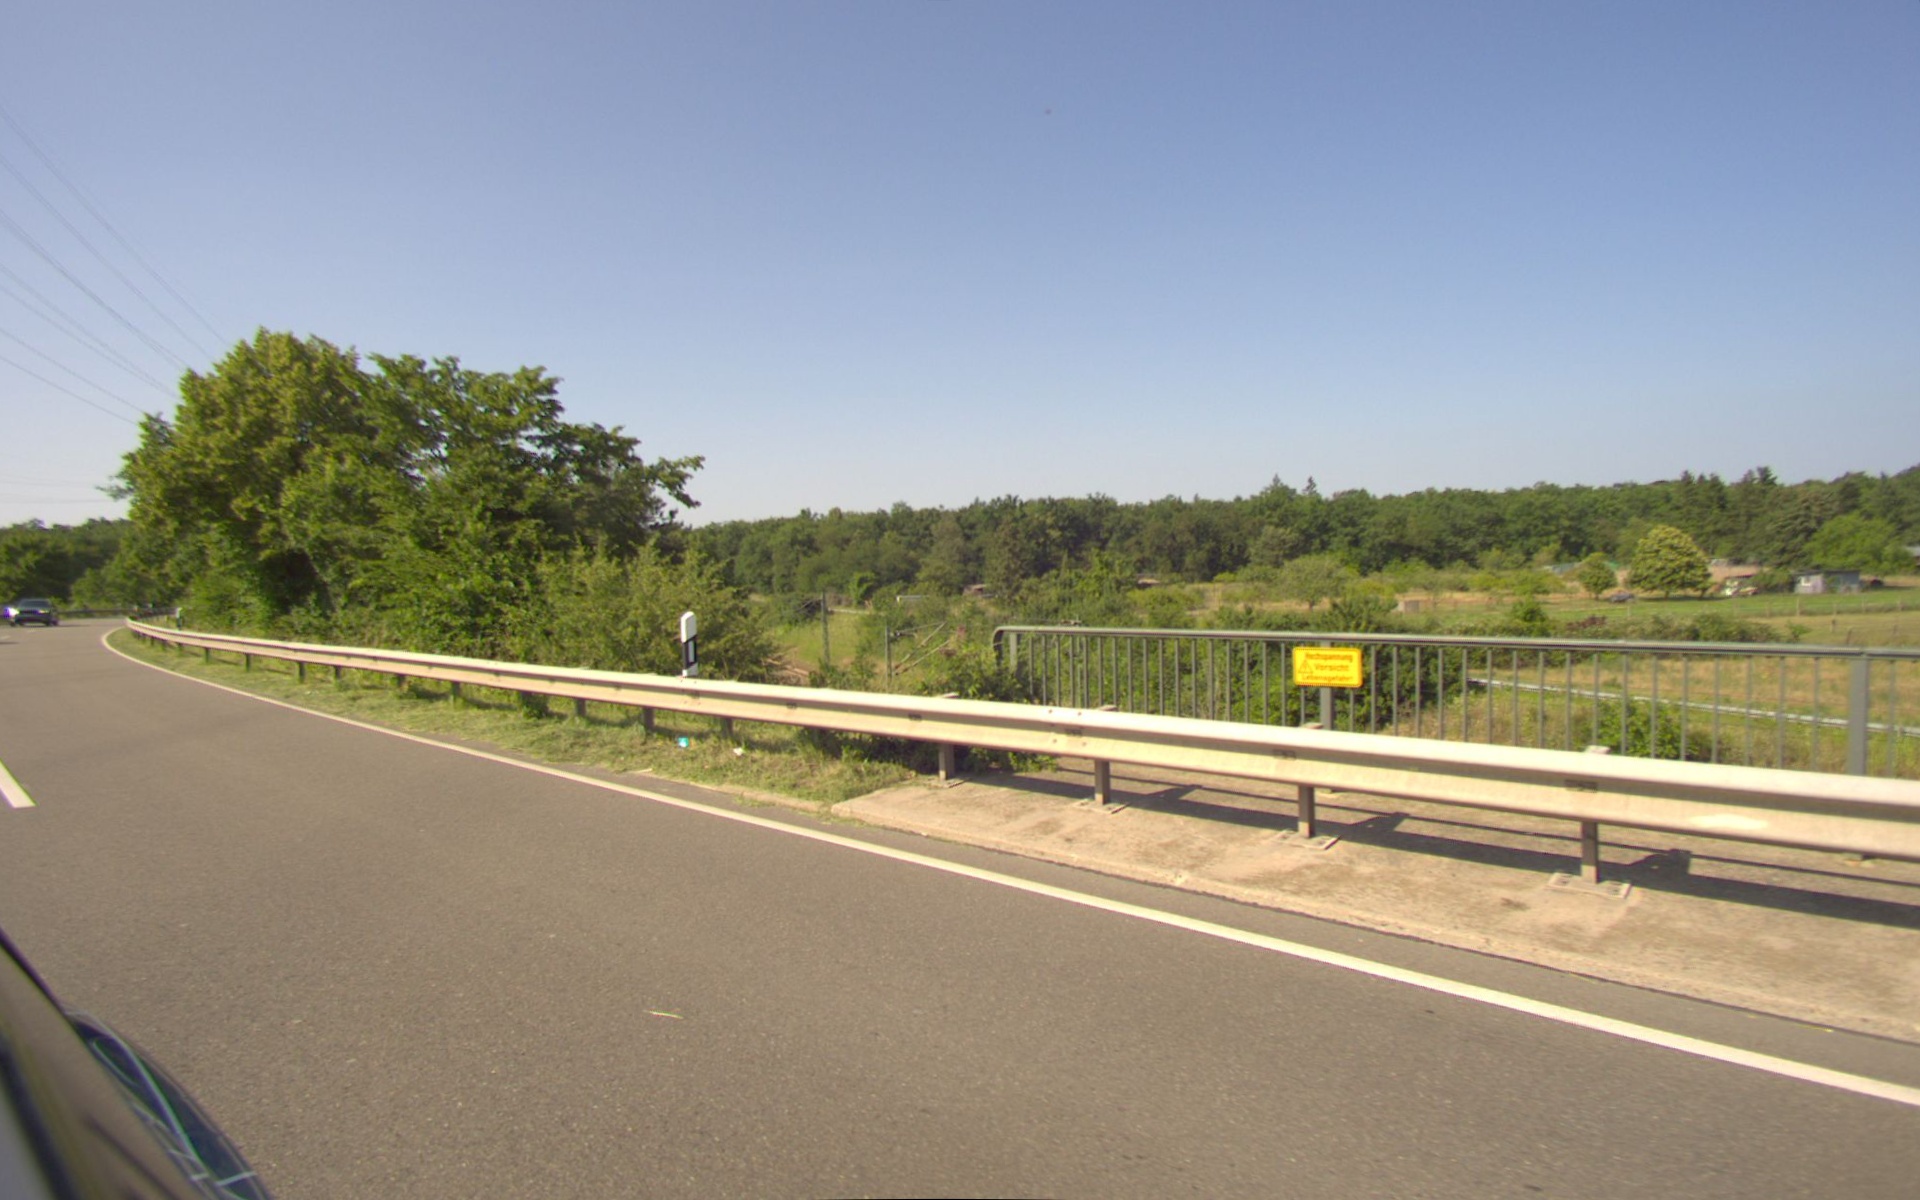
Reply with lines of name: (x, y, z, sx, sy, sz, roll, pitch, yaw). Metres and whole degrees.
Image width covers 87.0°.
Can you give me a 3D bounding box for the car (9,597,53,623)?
car: (-57.596, 0.613, 62.782, 1.582, 1.506, 4.009, 0, 1, -37)
